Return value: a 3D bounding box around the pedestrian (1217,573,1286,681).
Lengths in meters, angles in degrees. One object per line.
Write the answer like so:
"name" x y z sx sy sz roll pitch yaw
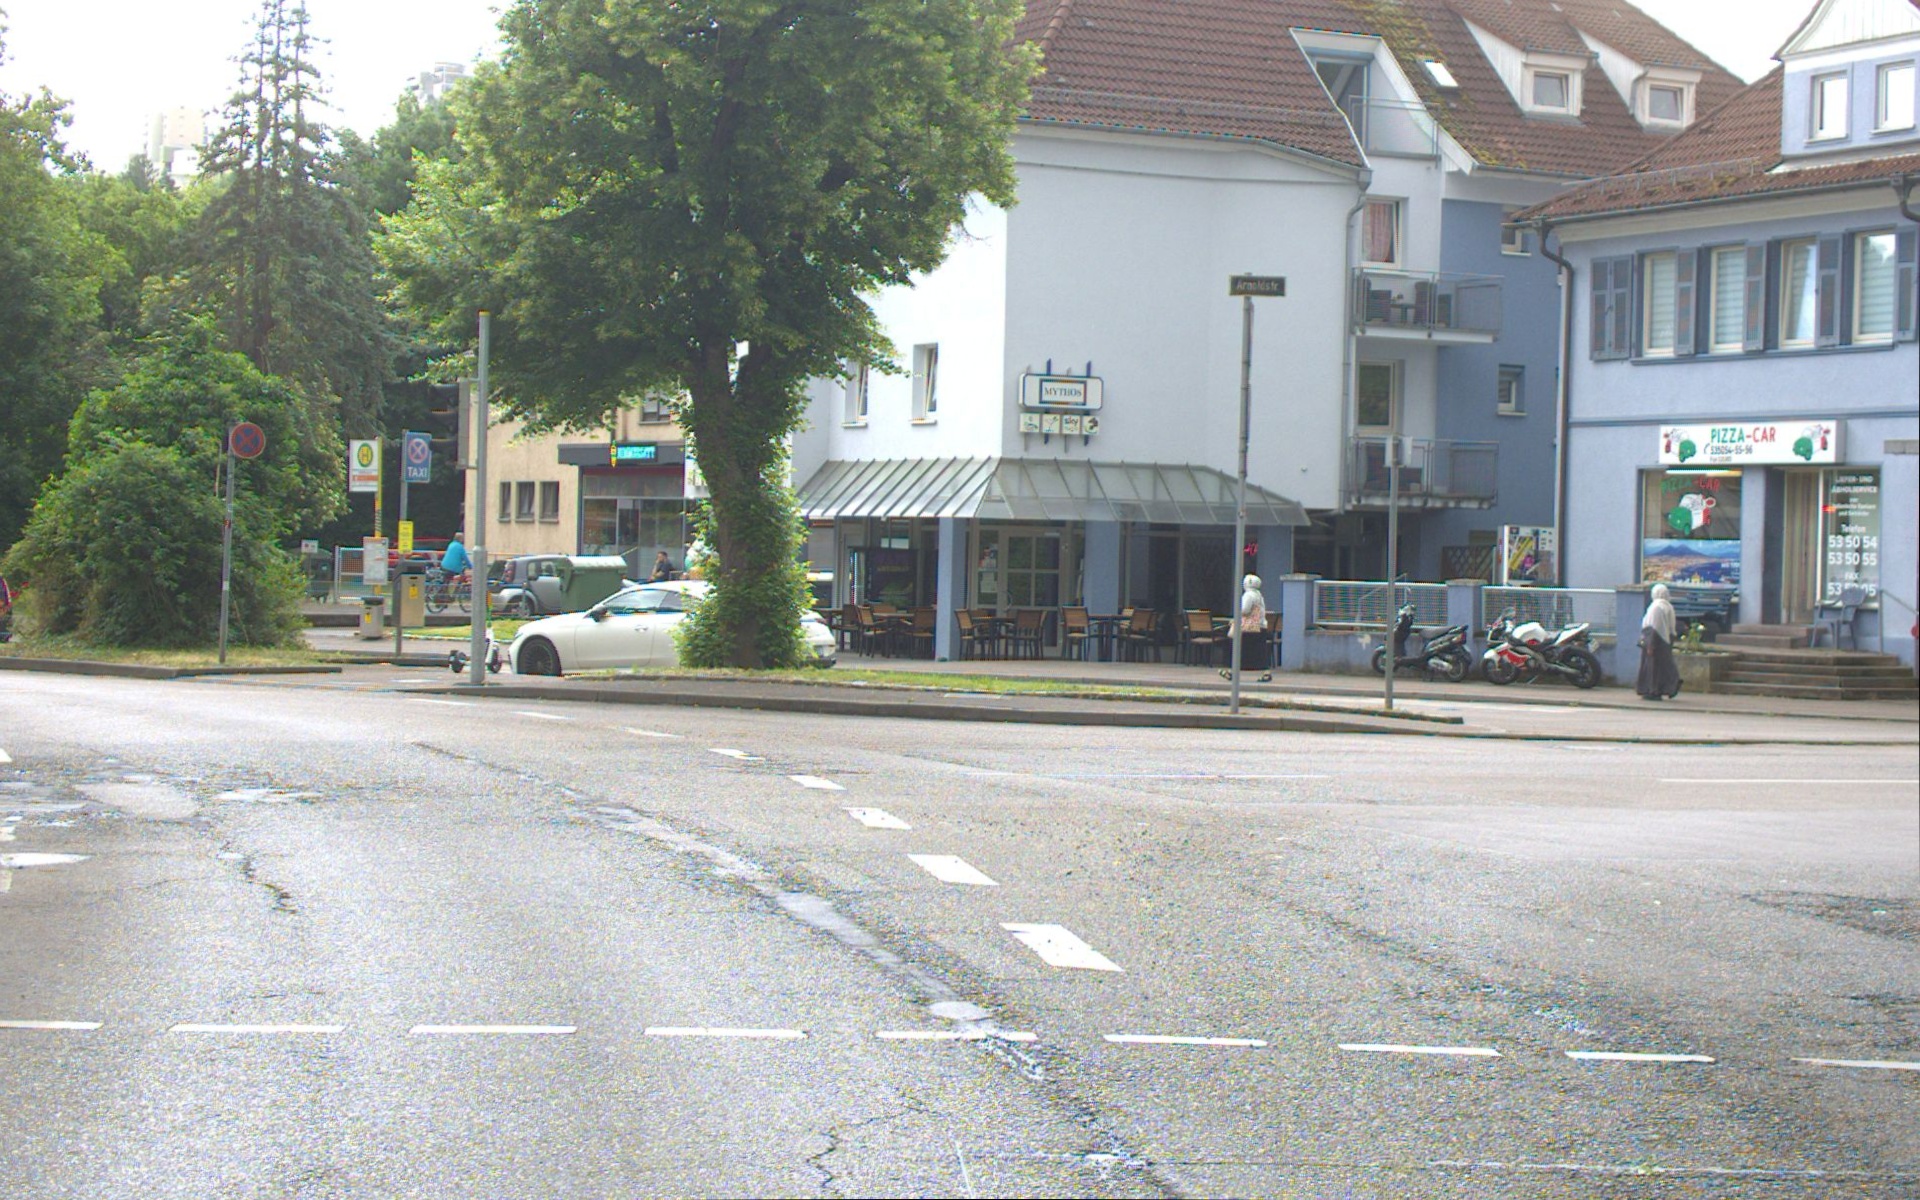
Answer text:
"pedestrian" 4.232 0.389 49.951 0.707 1.539 0.677 2 1 40

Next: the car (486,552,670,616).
"car" -8.427 -0.358 75.877 3.733 1.340 1.434 1 1 -26

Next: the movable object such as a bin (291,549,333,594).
"movable object such as a bin" -16.247 -0.722 86.173 0.950 1.111 0.383 1 1 -21

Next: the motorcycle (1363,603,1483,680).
"motorcycle" 6.749 0.599 50.164 1.636 1.060 0.693 2 1 44

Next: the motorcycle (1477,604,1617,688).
"motorcycle" 8.255 0.636 48.385 1.798 1.118 0.693 2 1 38

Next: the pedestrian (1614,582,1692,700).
"pedestrian" 9.248 0.538 45.882 0.768 1.539 0.677 1 1 39

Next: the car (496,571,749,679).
"car" -4.533 0.320 46.048 3.171 1.350 1.436 2 1 35

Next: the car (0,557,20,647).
"car" -16.516 -0.007 53.727 3.590 1.389 1.469 2 1 32

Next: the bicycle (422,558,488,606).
"bicycle" -11.836 -0.426 80.616 0.603 1.108 1.577 1 1 34

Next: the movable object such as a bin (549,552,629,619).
"movable object such as a bin" -7.984 -0.316 73.980 1.440 1.404 0.967 1 1 -27

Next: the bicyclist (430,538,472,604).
"bicyclist" -11.915 -0.684 80.507 0.599 1.536 0.738 1 1 34

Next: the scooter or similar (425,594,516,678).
"scooter or similar" -6.062 0.435 42.655 0.417 1.008 1.565 1 1 20
